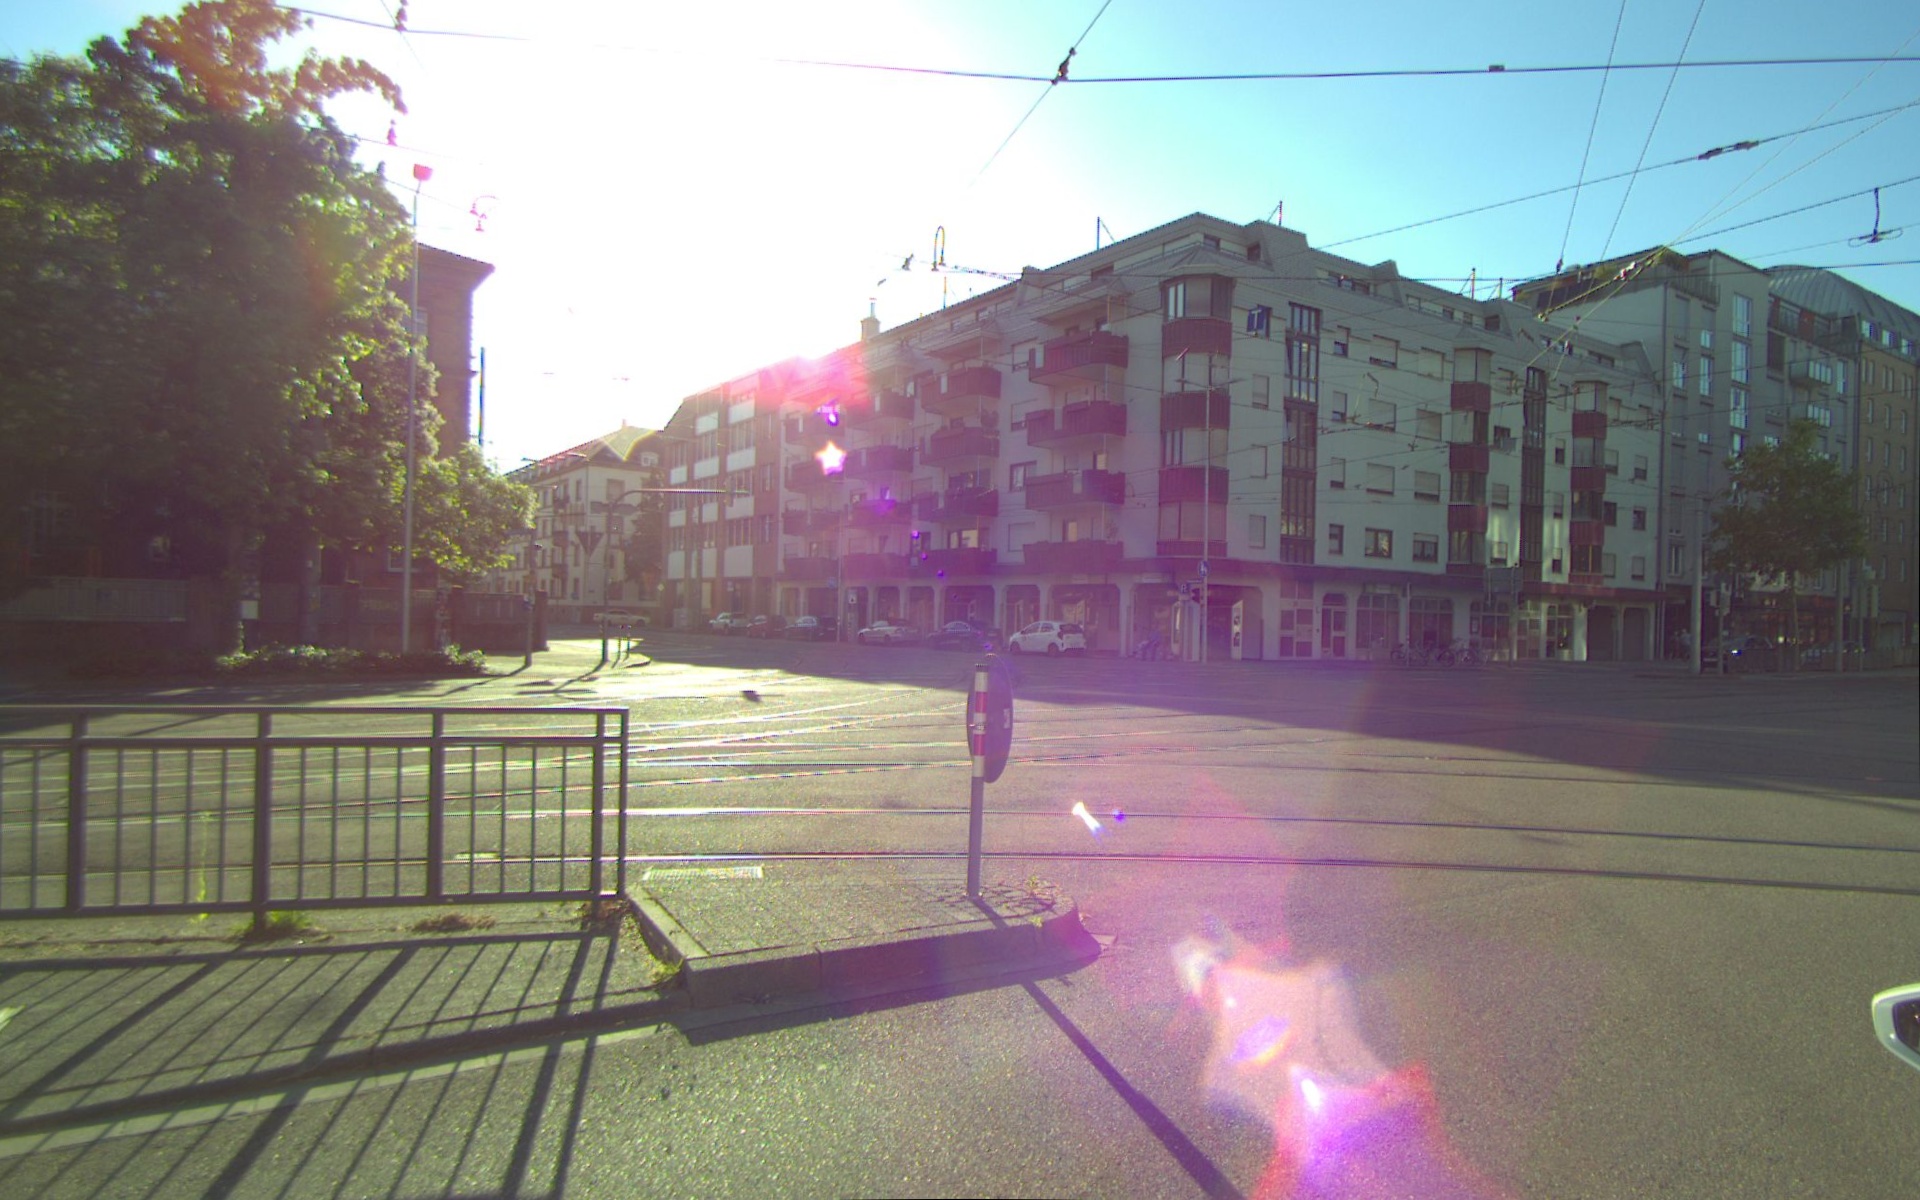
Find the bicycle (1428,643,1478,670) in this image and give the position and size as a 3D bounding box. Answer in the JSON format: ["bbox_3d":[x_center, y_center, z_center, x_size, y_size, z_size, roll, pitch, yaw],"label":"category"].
[{"bbox_3d":[20.001,2.268,40.795,0.547,0.998,1.833,2,-1,-32],"label":"bicycle"}]

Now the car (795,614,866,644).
[{"bbox_3d":[-7.428,1.612,57.229,1.982,1.576,4.535,2,-1,-37],"label":"car"}]

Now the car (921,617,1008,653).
[{"bbox_3d":[0.189,1.613,46.912,1.982,1.576,4.079,2,-1,-38],"label":"car"}]

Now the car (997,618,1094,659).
[{"bbox_3d":[3.588,1.617,42.761,1.982,1.576,3.957,2,-1,-38],"label":"car"}]

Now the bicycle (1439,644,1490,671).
[{"bbox_3d":[20.574,2.326,40.997,0.547,0.998,1.833,2,-1,-32],"label":"bicycle"}]

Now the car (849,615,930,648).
[{"bbox_3d":[-3.691,1.623,51.849,1.982,1.576,4.535,2,-1,-37],"label":"car"}]

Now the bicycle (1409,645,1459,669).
[{"bbox_3d":[18.931,2.269,40.129,0.546,0.865,1.836,2,-1,-27],"label":"bicycle"}]

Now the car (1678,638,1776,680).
[{"bbox_3d":[33.155,2.526,43.402,4.211,1.695,1.945,2,-1,-31],"label":"car"}]

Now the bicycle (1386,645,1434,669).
[{"bbox_3d":[18.023,2.263,40.287,0.546,0.865,1.836,2,-1,-27],"label":"bicycle"}]

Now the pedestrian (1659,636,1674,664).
[{"bbox_3d":[39.826,2.815,56.636,0.581,1.514,0.531,2,-1,-33],"label":"pedestrian"}]

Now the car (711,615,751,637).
[{"bbox_3d":[-15.423,1.736,67.454,1.447,1.351,3.149,2,-1,-37],"label":"car"}]

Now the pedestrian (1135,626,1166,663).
[{"bbox_3d":[7.508,1.740,39.537,0.830,1.402,0.849,2,-1,-40],"label":"pedestrian"}]

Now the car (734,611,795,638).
[{"bbox_3d":[-12.447,1.550,63.654,1.982,1.576,4.535,2,-1,-37],"label":"car"}]

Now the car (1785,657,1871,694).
[{"bbox_3d":[42.298,3.638,48.934,4.211,1.616,1.945,2,-1,-31],"label":"car"}]

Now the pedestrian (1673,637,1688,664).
[{"bbox_3d":[40.382,2.839,56.288,0.581,1.514,0.531,2,-1,-33],"label":"pedestrian"}]
